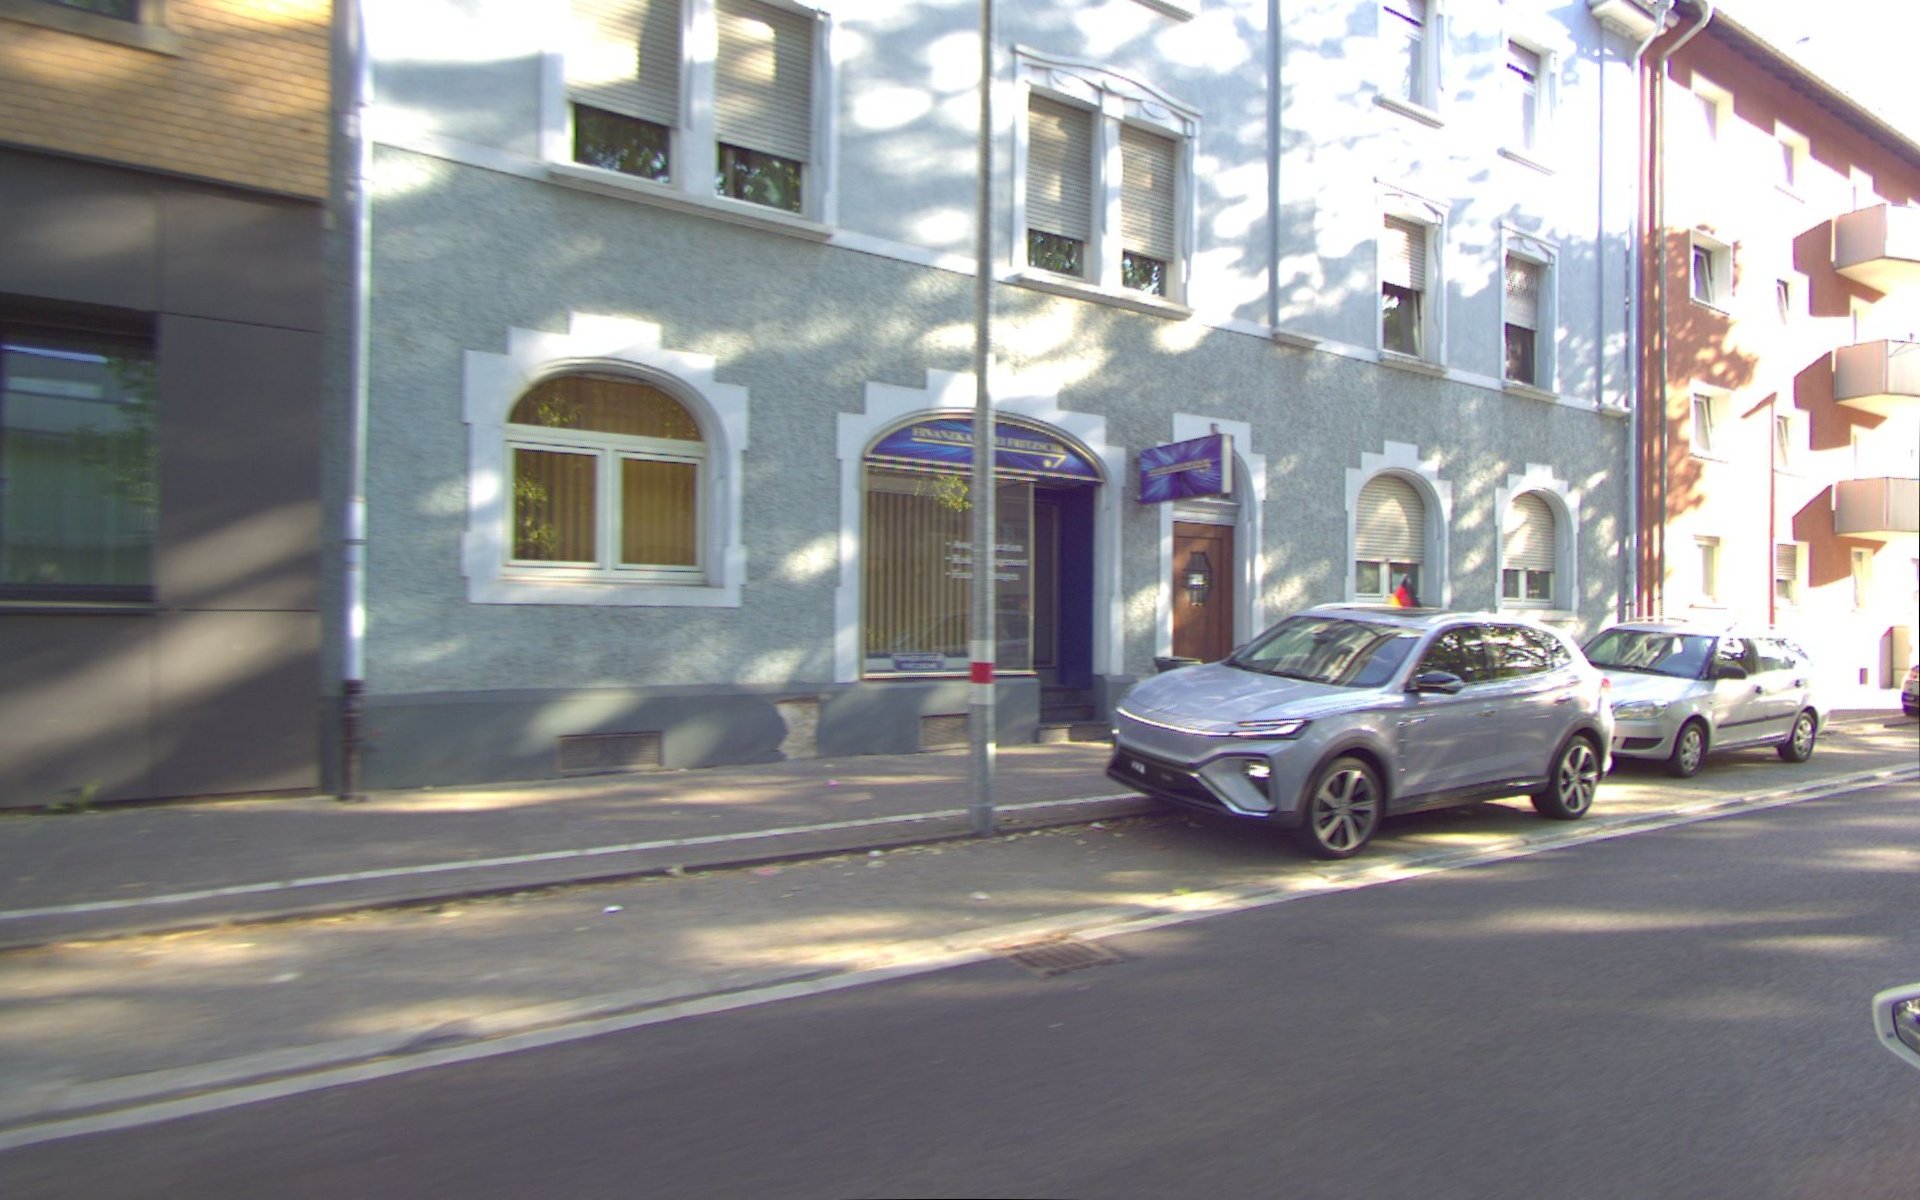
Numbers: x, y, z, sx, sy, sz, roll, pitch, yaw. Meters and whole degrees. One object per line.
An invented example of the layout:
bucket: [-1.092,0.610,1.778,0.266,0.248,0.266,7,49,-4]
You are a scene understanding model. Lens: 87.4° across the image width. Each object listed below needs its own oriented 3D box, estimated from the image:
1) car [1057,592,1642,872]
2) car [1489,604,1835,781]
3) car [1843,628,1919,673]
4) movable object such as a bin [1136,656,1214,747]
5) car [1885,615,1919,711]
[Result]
car: [3.168,0.815,7.955,4.522,1.663,1.899,1,0,-30]
car: [7.957,0.920,11.329,3.937,1.663,1.670,1,0,-30]
car: [34.523,1.823,36.174,1.728,1.587,3.766,1,-2,-30]
movable object such as a bin: [2.400,1.116,11.235,0.661,0.959,0.554,1,-2,-30]
car: [16.894,1.035,16.369,3.558,1.506,1.670,1,0,-30]
